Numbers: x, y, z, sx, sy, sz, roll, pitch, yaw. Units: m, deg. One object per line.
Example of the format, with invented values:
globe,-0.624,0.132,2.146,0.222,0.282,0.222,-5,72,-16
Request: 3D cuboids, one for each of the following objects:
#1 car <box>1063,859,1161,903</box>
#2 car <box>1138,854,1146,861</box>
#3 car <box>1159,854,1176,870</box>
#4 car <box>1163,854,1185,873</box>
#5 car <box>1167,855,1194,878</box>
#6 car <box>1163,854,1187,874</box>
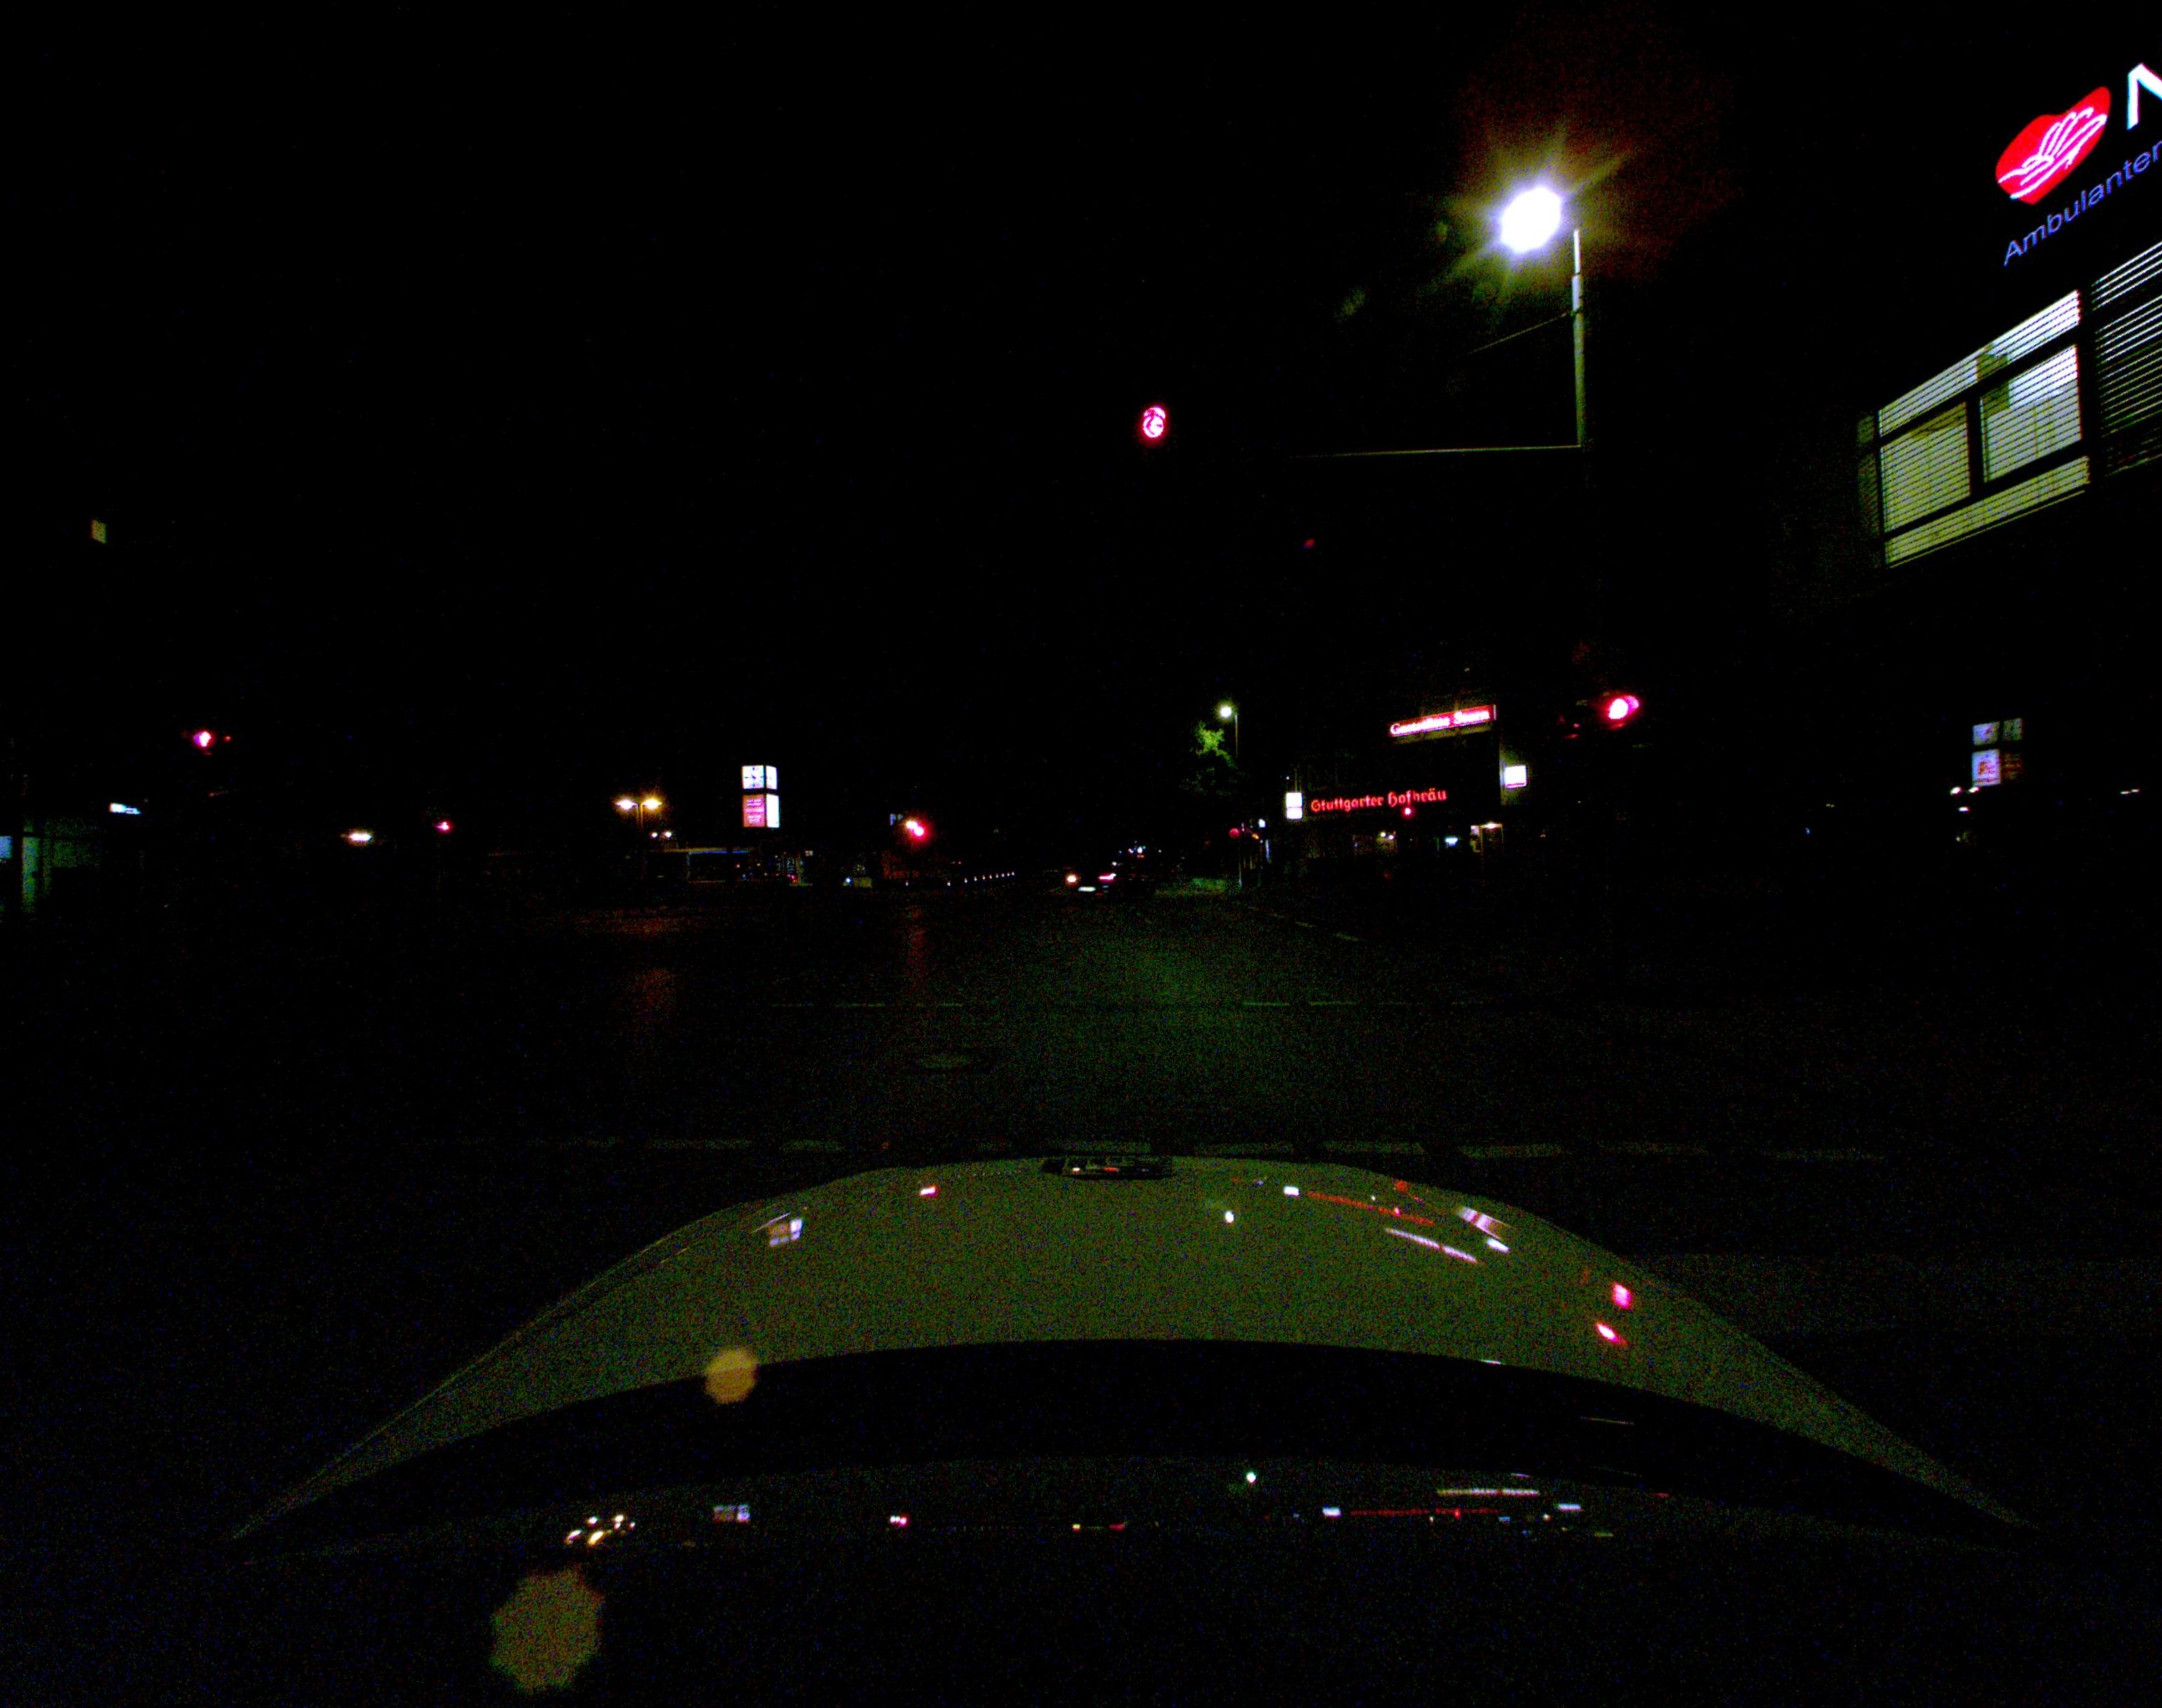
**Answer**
car,1.220,0.919,29.572,1.856,1.454,4.342,-1,-1,28
car,17.284,0.983,229.408,2.217,1.651,4.004,-1,0,4
car,10.045,0.905,94.462,1.868,1.683,4.005,-2,-1,5
car,8.677,0.870,76.429,1.868,1.729,4.005,-2,-1,5
car,7.697,0.951,63.442,1.868,1.615,4.005,-2,-1,5
car,7.882,0.824,68.772,1.868,1.615,4.005,-2,-1,5
